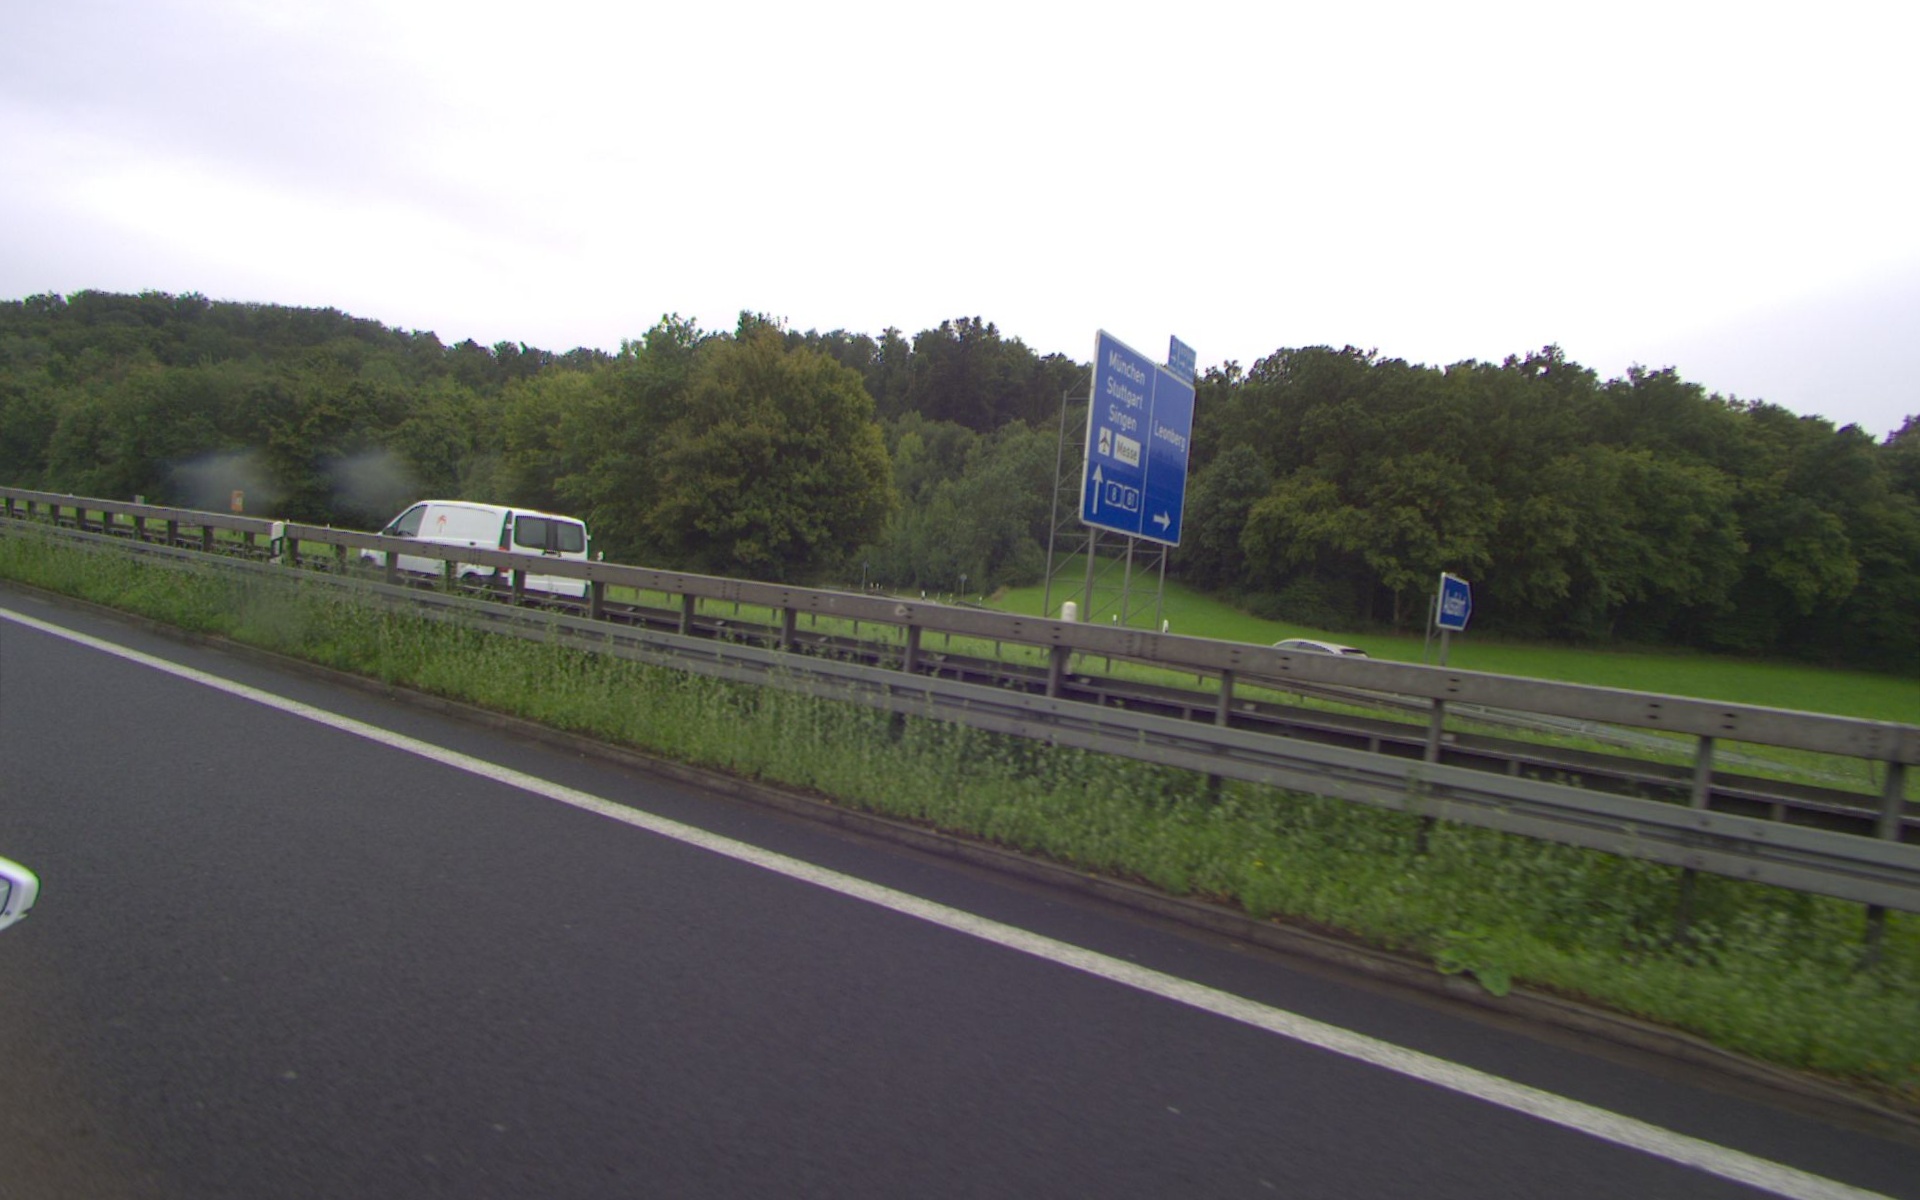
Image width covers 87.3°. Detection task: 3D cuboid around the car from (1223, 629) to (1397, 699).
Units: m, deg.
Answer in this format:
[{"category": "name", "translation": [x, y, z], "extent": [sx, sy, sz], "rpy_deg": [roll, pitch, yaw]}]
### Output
[{"category": "car", "translation": [10.338, 1.862, 30.096], "extent": [1.885, 1.472, 4.671], "rpy_deg": [7, -1, -32]}]

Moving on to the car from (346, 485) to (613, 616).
[{"category": "car", "translation": [-8.545, -0.904, 17.786], "extent": [4.640, 1.714, 1.911], "rpy_deg": [8, 0, 31]}]
